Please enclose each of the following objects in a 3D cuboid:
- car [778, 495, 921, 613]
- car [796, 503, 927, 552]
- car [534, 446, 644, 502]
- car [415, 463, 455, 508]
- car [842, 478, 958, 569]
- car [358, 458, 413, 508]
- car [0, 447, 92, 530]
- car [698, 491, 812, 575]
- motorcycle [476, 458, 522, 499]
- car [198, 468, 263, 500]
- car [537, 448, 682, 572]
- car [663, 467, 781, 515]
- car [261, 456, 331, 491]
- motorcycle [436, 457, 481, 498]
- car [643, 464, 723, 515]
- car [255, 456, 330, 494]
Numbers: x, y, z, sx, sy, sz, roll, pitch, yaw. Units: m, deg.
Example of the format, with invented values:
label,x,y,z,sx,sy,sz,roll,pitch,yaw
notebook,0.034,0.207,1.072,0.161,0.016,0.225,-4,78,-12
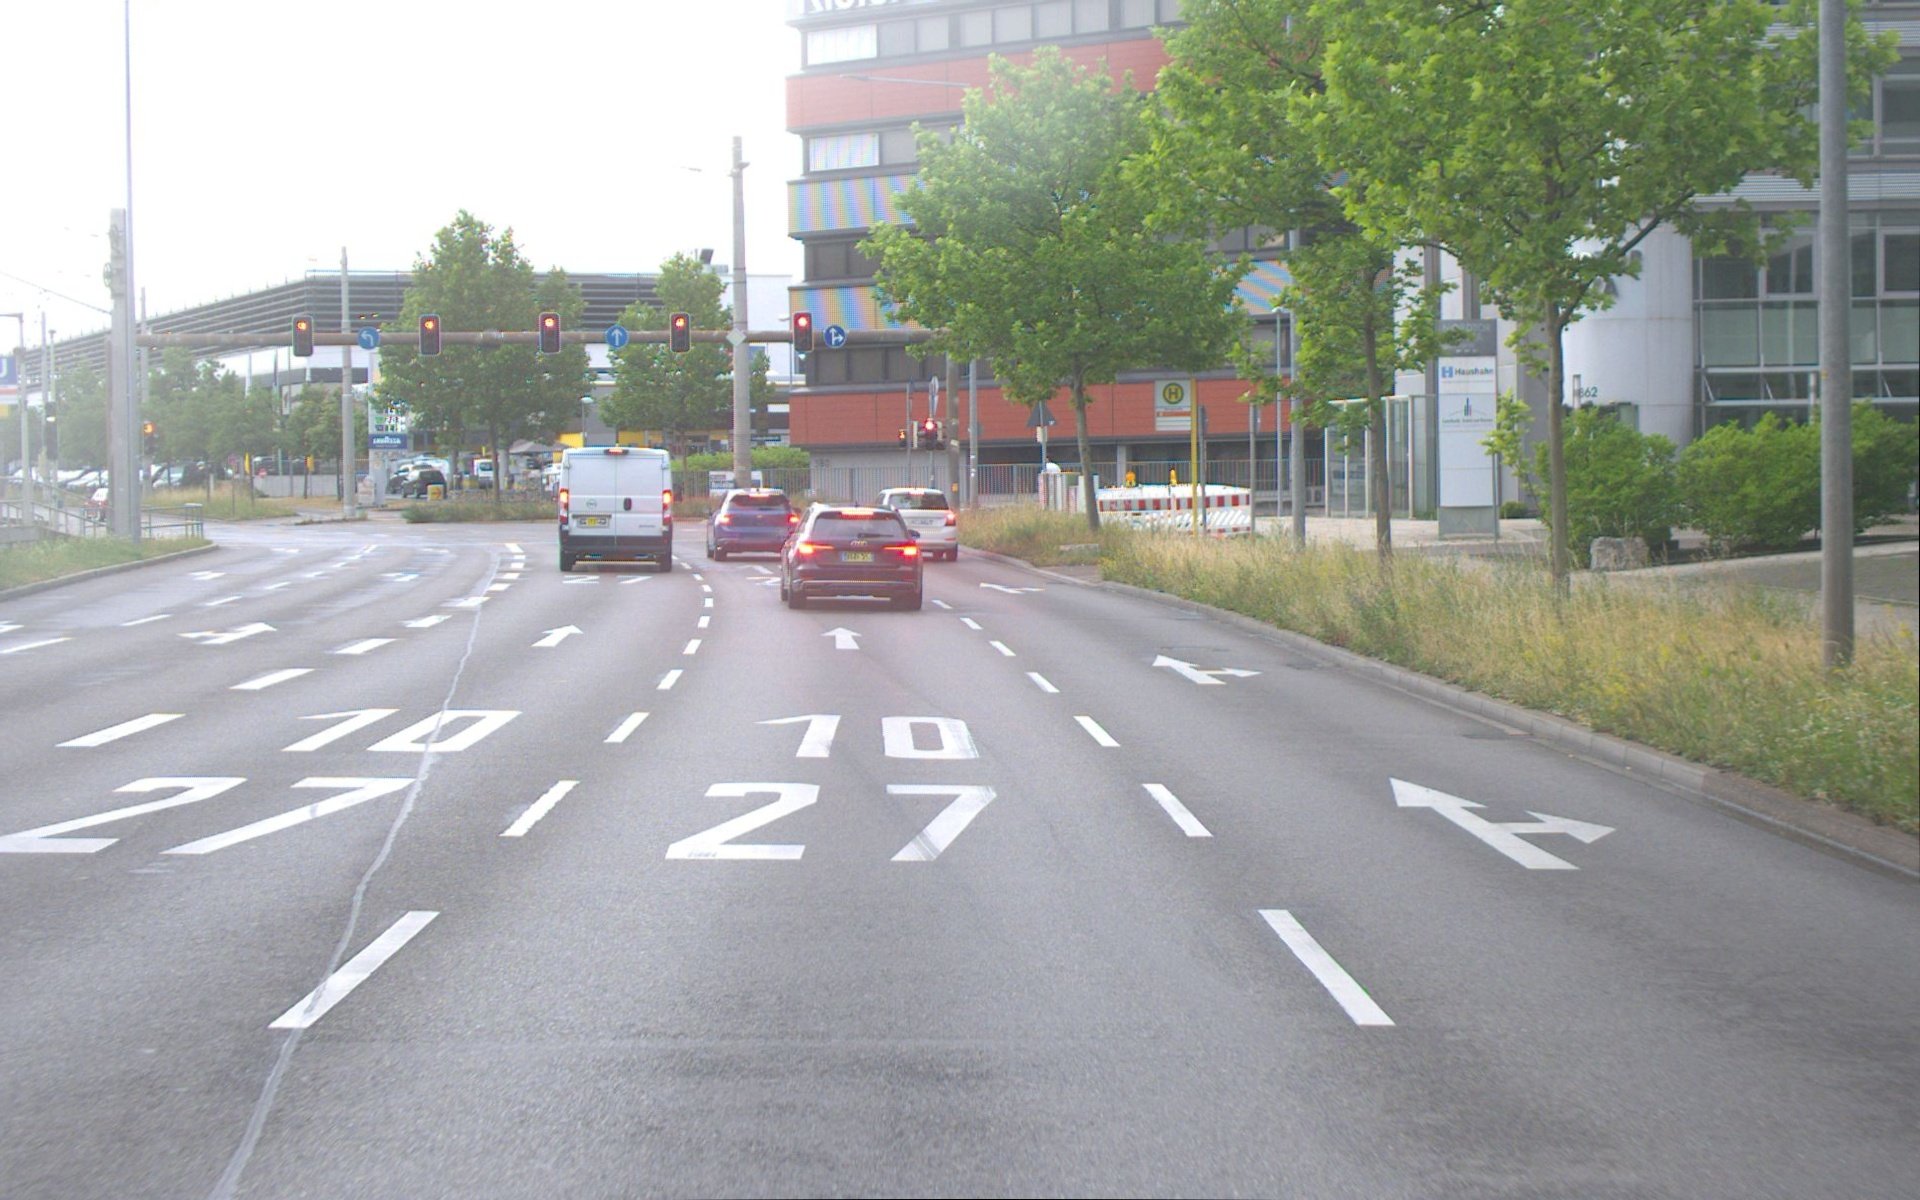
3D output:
label,x,y,z,sx,sy,sz,roll,pitch,yaw
car,-1.474,-0.671,47.204,1.764,1.458,4.627,1,2,0
car,-3.379,-2.481,117.404,4.322,1.617,2.022,1,1,44
car,-14.114,-4.784,130.737,3.997,2.007,1.995,2,0,44
car,-26.536,-5.777,173.662,1.817,2.007,3.471,1,-2,-11
car,-1.250,-1.578,70.050,2.021,1.763,4.001,1,2,-6
car,-26.396,-5.346,157.946,1.993,2.007,4.001,1,-2,-17
car,-21.859,-2.624,81.183,1.993,1.803,3.848,4,0,-6
car,-4.200,-1.337,69.852,2.021,1.617,4.001,1,0,-7
motorcycle,-26.475,-6.959,197.377,1.993,2.007,4.001,1,-2,-16
car,-49.756,-7.904,234.402,3.986,2.007,2.000,1,-2,-22
car,-6.424,-1.638,63.590,2.511,2.169,5.150,1,1,-4
car,-8.511,-3.874,122.758,3.997,1.617,2.022,1,1,44
car,-42.327,-8.057,219.143,3.986,2.007,2.000,1,-2,-22
motorcycle,-28.699,-6.987,196.732,1.993,2.007,4.001,1,-2,-16
car,-12.411,-4.950,153.952,1.993,2.007,4.000,1,-2,-30
car,-39.320,-7.377,202.509,3.986,2.007,2.000,1,-2,-22
